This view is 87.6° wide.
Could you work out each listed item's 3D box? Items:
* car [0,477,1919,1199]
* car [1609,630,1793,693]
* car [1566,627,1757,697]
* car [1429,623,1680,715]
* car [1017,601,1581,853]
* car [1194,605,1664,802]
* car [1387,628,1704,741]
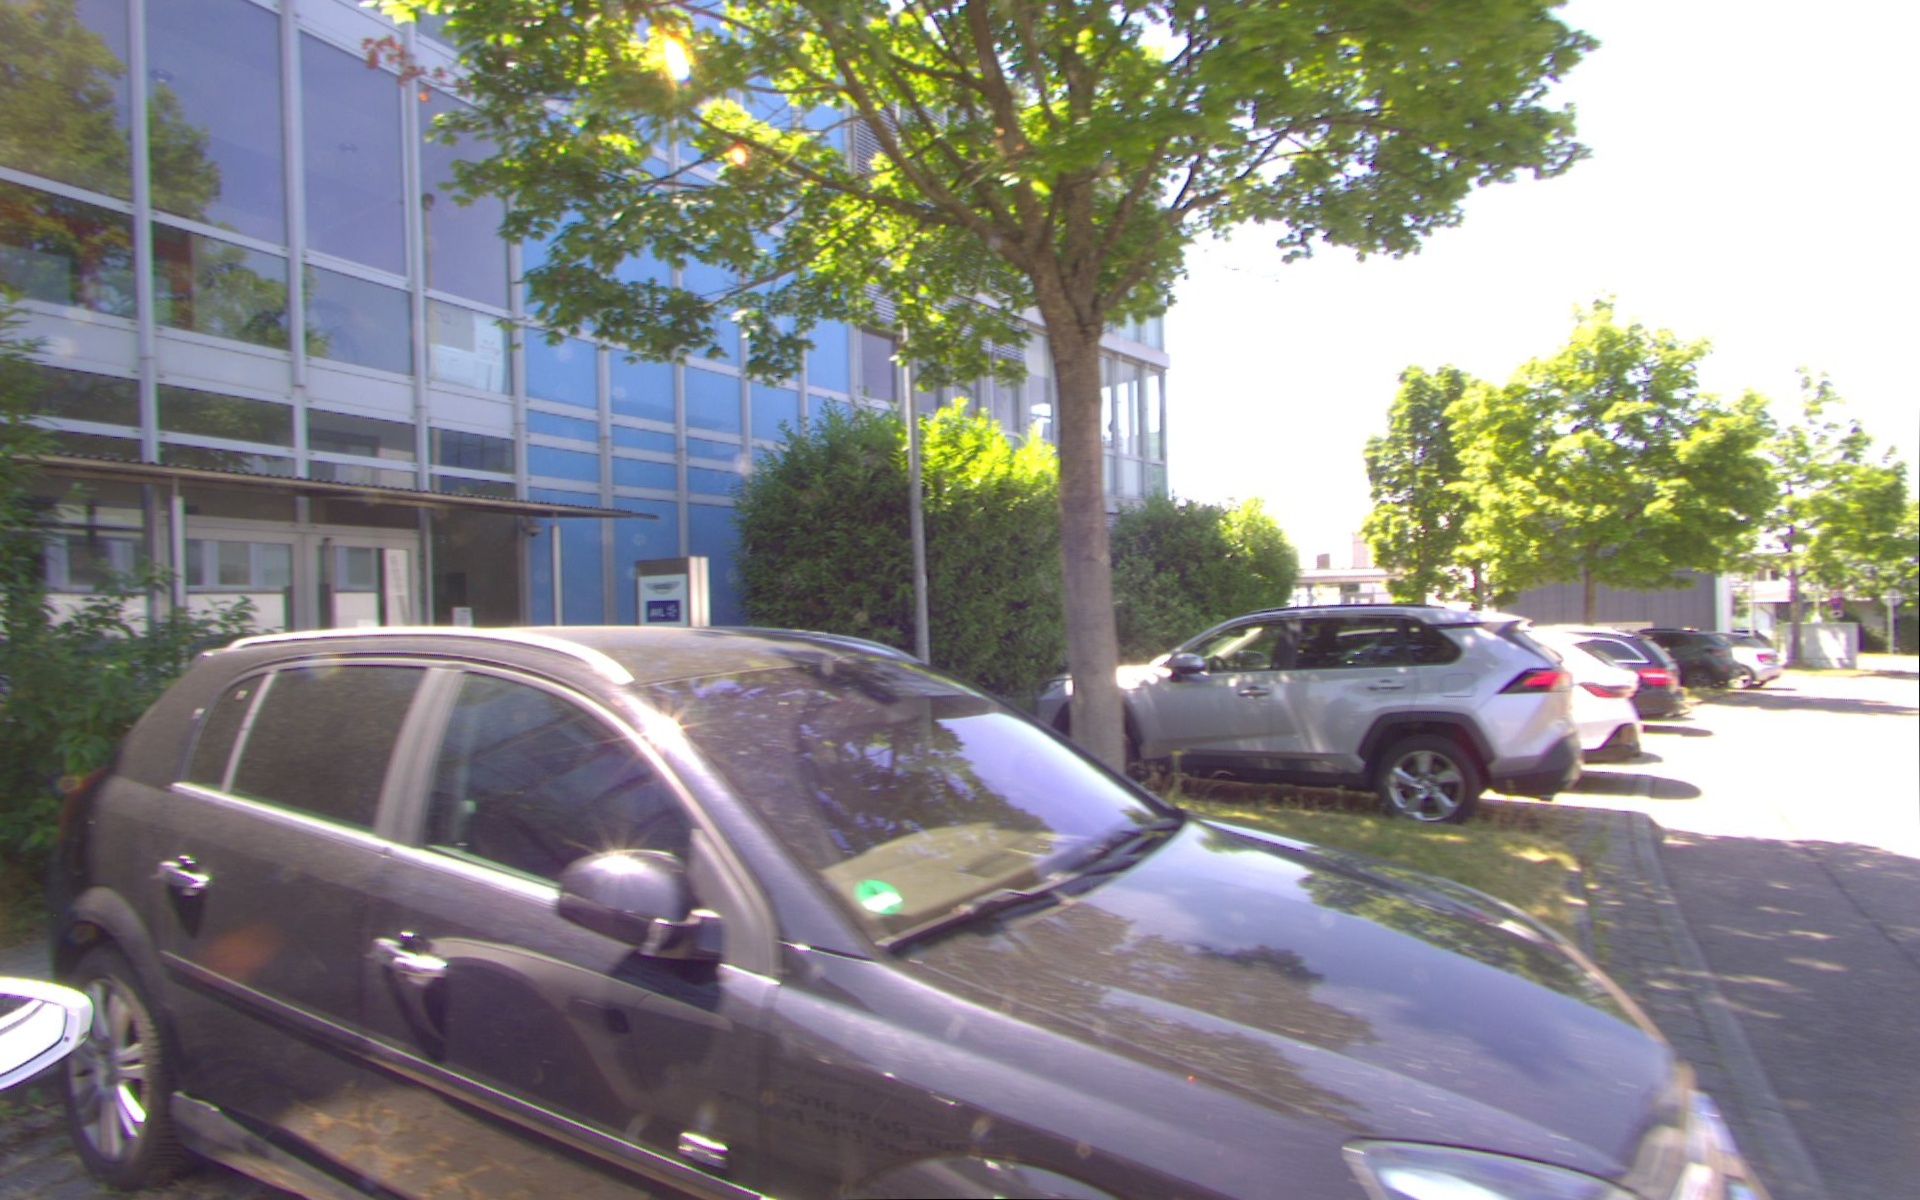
[{"bbox_3d":[-0.580,0.749,2.606,4.498,1.569,1.756,-1,-2,31],"label":"car"},{"bbox_3d":[19.148,1.537,25.968,1.617,1.462,3.560,2,-1,-39],"label":"car"},{"bbox_3d":[17.193,1.475,24.655,1.617,1.545,3.560,2,-1,-39],"label":"car"},{"bbox_3d":[12.031,1.325,20.467,1.644,1.626,4.138,2,-1,-43],"label":"car"},{"bbox_3d":[2.800,0.868,8.591,4.271,1.664,1.848,0,-1,33],"label":"car"},{"bbox_3d":[4.715,0.909,10.397,4.143,1.664,1.652,0,-1,33],"label":"car"},{"bbox_3d":[9.182,1.231,15.900,4.129,1.505,1.648,0,-1,41],"label":"car"}]
